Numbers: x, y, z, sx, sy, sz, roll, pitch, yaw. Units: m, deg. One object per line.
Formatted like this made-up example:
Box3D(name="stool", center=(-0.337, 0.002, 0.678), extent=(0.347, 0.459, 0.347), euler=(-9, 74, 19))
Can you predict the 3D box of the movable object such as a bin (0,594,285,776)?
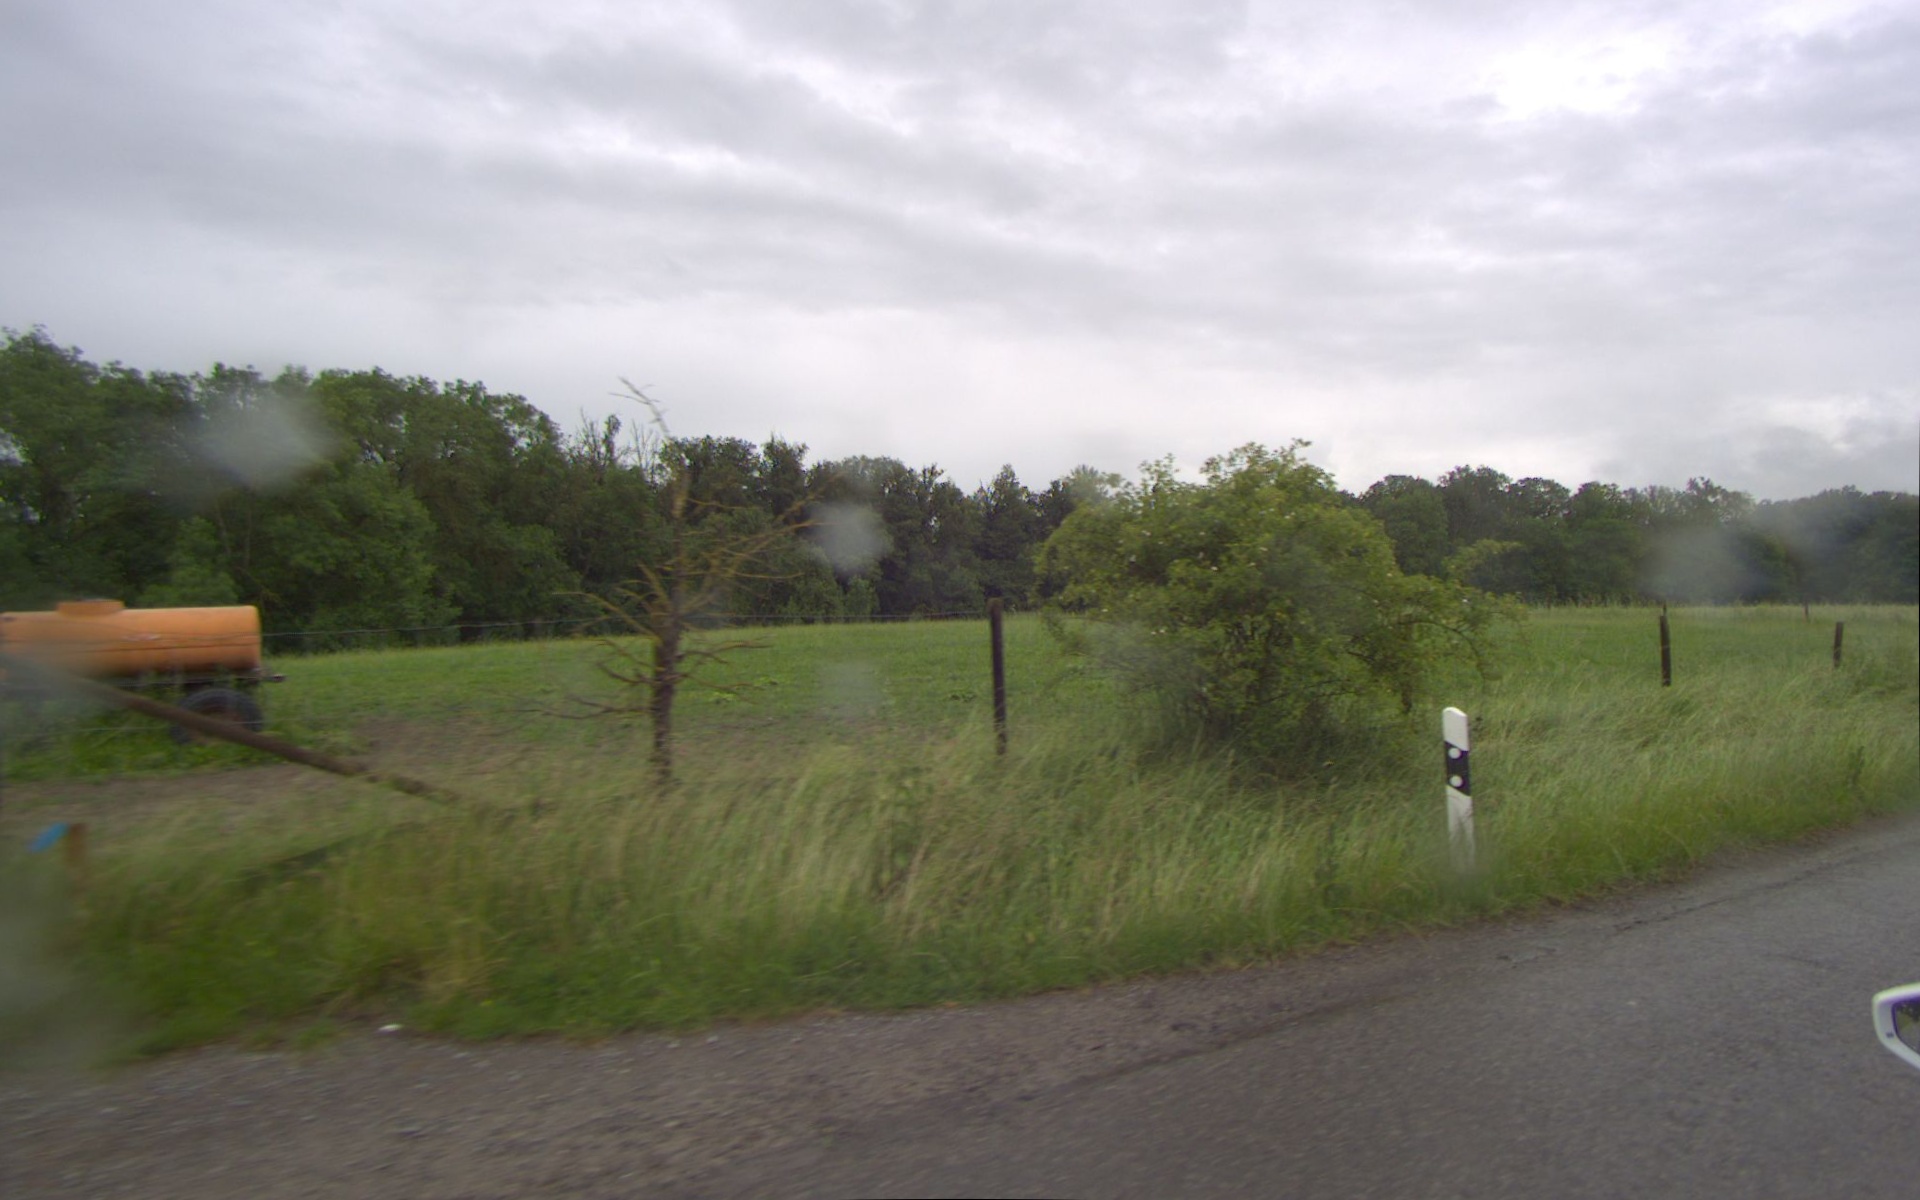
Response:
Box3D(name="movable object such as a bin", center=(-8.699, 0.755, 9.736), extent=(3.499, 1.592, 1.669), euler=(1, 1, -32))
